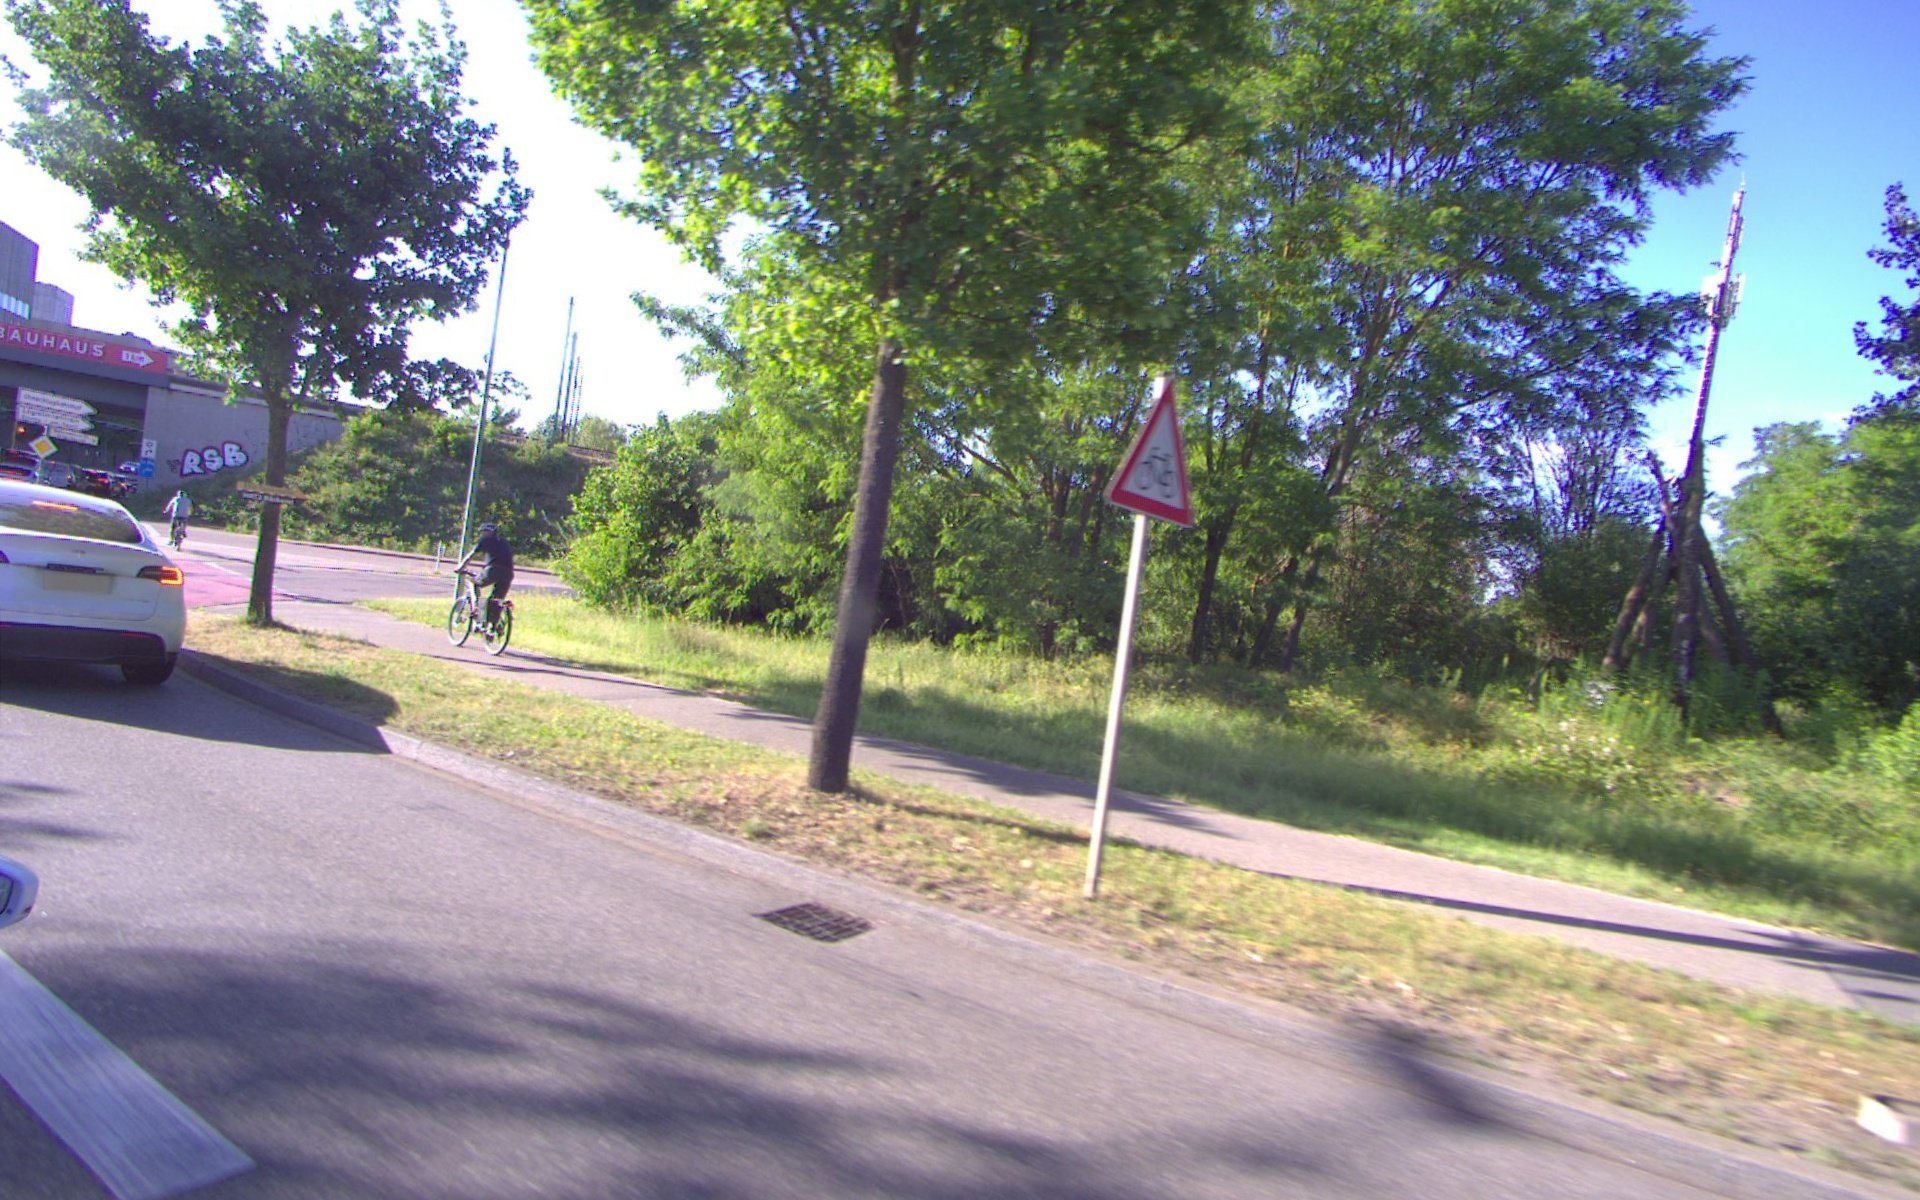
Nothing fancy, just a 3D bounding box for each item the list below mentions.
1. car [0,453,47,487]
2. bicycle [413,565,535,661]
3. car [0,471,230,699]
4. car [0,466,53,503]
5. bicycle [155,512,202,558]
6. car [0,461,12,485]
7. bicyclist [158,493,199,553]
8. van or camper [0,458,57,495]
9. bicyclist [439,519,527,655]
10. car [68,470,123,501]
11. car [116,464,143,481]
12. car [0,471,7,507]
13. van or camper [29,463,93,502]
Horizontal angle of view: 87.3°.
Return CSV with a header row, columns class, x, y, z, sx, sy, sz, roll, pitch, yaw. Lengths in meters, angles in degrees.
class,x,y,z,sx,sy,sz,roll,pitch,yaw
car,-65.869,-9.118,70.302,1.852,1.970,4.561,8,0,-28
bicycle,-6.956,0.166,14.348,2.087,1.109,0.694,8,2,39
car,-8.813,-0.264,9.250,4.340,1.658,1.917,6,-3,35
car,-45.287,-5.569,48.453,1.753,1.493,4.247,8,0,-35
bicycle,-22.748,-1.906,29.250,0.740,1.127,2.420,4,3,-45
car,-61.846,-8.220,63.606,1.695,1.470,3.714,8,0,-28
bicyclist,-22.693,-2.237,29.222,0.901,1.640,0.743,8,3,45
van or camper,-56.820,-7.514,61.394,1.743,1.835,3.924,8,0,-32
bicyclist,-6.751,-0.185,14.234,0.934,1.800,0.674,8,3,39
car,-54.565,-7.219,63.551,1.695,1.541,3.714,8,0,-28
car,-110.506,-16.945,133.856,1.769,1.665,4.171,9,0,-27
car,-39.865,-4.593,40.349,1.595,1.452,3.643,9,0,-34
van or camper,-51.263,-6.654,57.423,1.814,1.812,4.504,9,0,-32
